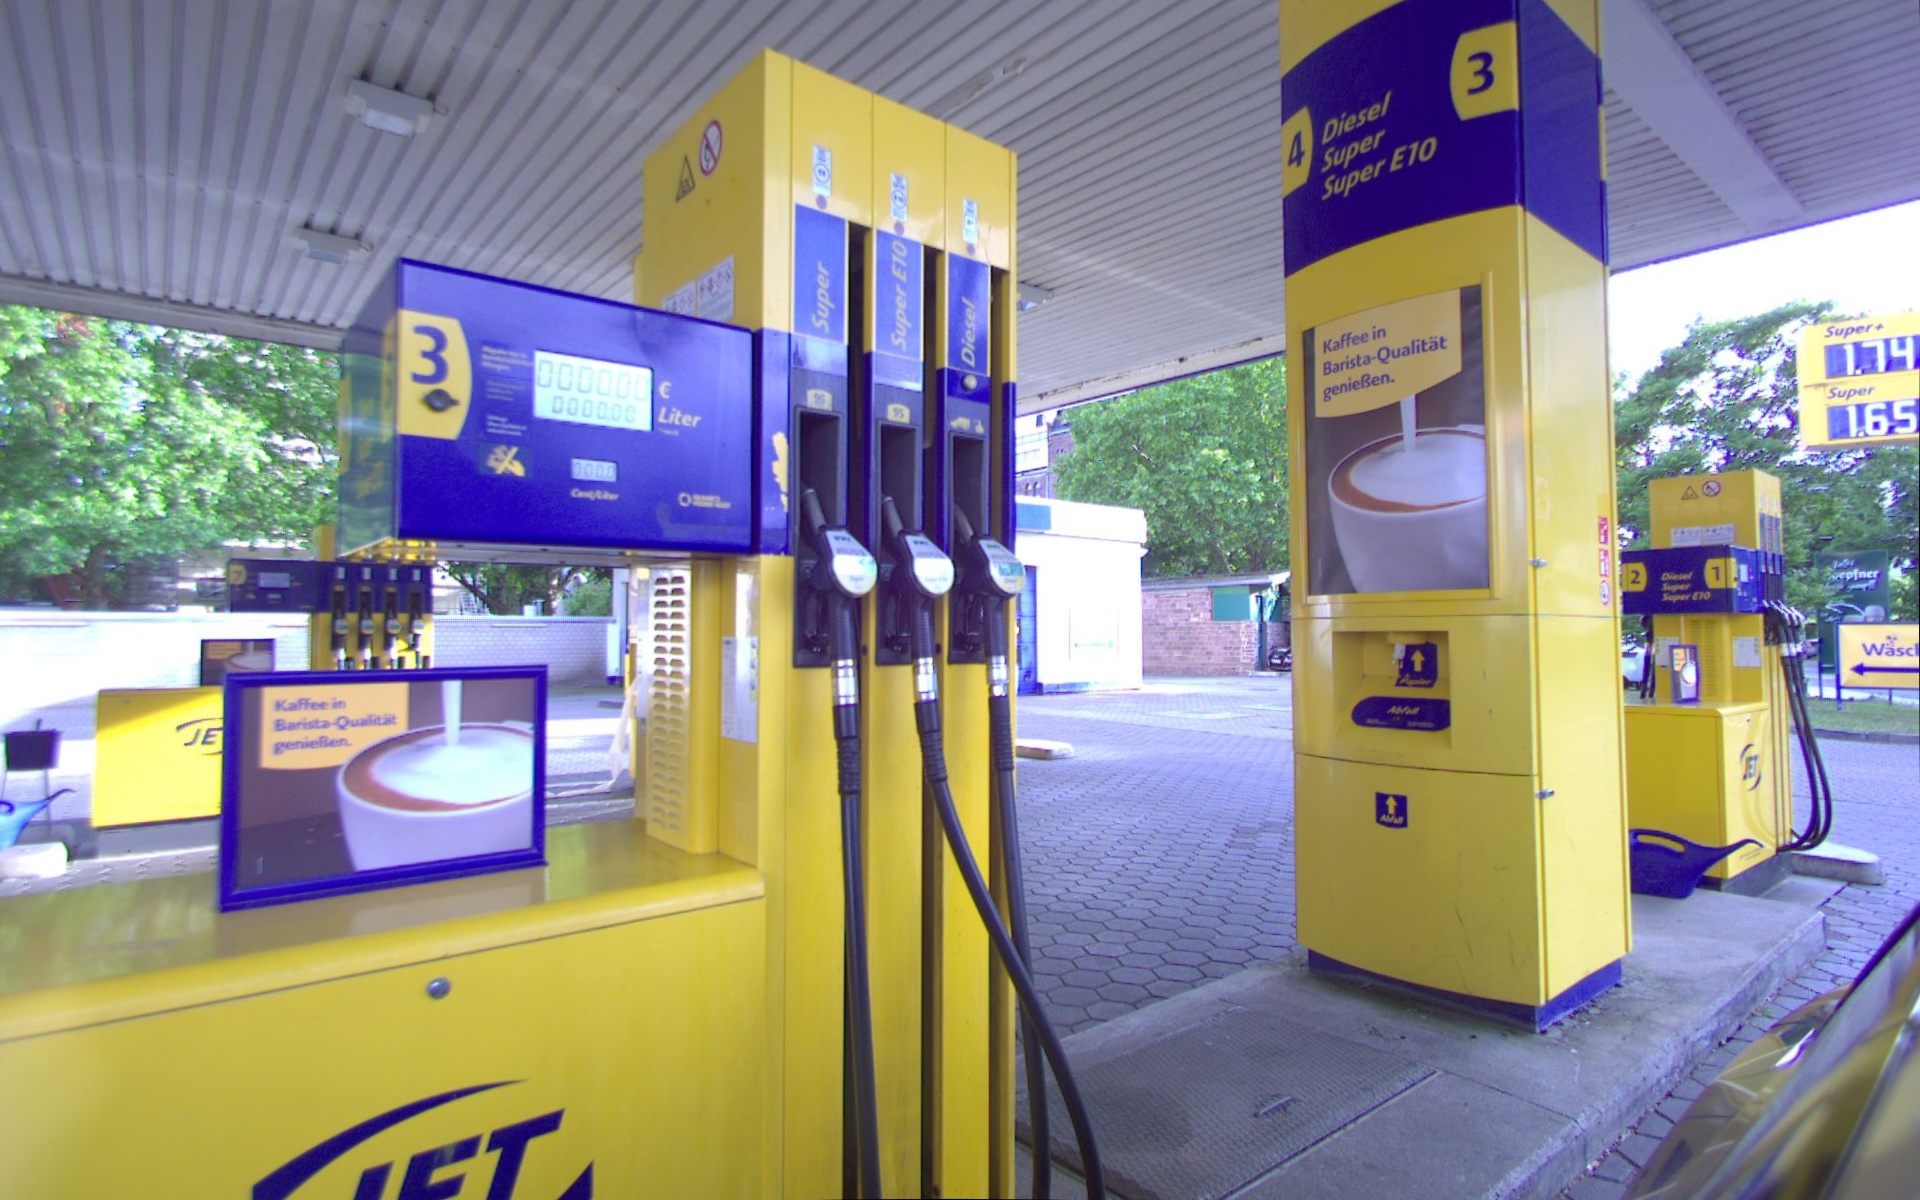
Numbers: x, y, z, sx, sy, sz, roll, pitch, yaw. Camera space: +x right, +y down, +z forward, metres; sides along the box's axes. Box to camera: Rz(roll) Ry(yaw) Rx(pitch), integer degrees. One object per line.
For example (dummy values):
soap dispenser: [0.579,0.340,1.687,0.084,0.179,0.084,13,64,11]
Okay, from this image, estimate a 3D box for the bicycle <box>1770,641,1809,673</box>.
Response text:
bicycle: [34.442,2.357,42.035,0.728,1.274,1.921,-3,-3,26]

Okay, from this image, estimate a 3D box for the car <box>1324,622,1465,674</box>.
car: [13.794,1.547,32.151,4.134,1.544,1.791,2,-3,-24]

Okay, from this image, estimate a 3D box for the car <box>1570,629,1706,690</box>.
car: [18.226,1.562,27.165,3.923,1.529,1.740,2,-3,-35]

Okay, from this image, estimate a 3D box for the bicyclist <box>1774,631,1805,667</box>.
bicyclist: [34.421,2.024,42.014,0.728,1.479,0.908,-3,-3,26]

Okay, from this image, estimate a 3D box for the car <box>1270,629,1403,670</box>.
car: [12.834,1.698,34.500,4.134,1.294,1.751,2,-3,-22]

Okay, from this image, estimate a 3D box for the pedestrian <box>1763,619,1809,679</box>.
pedestrian: [28.596,1.684,35.063,0.923,2.040,1.205,0,-2,25]

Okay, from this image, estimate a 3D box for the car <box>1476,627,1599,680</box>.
car: [17.561,1.640,30.752,3.923,1.529,1.740,3,-3,-35]
